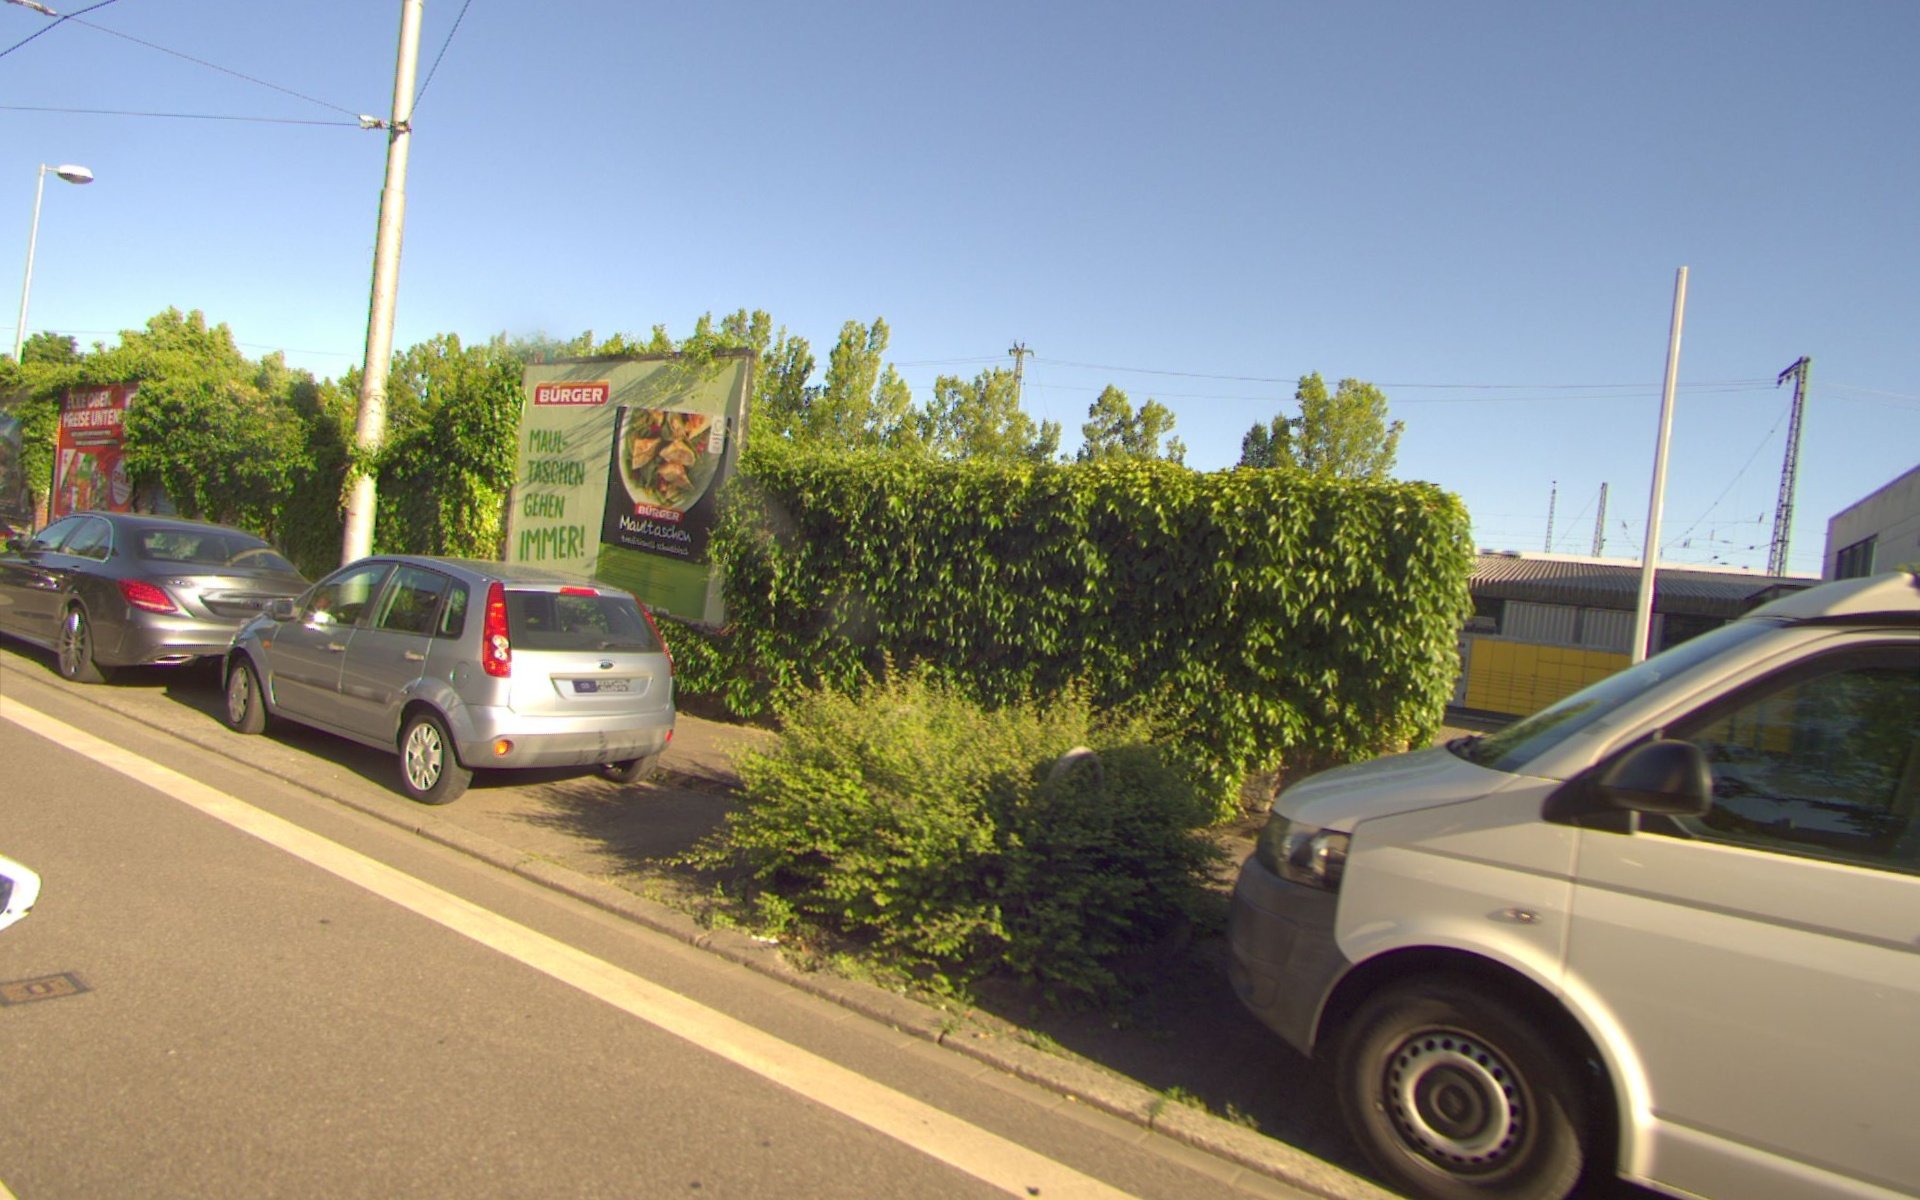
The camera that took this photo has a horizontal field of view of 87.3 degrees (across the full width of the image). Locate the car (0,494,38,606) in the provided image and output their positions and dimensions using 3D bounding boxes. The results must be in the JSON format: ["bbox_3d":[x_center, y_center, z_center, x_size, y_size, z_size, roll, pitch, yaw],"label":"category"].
[{"bbox_3d":[-15.030,-0.927,14.147,4.565,1.470,1.826,6,0,32],"label":"car"}]

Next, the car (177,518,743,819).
[{"bbox_3d":[-3.781,0.373,7.432,4.009,1.490,1.875,6,-1,33],"label":"car"}]

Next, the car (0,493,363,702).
[{"bbox_3d":[-7.952,-0.102,9.682,4.526,1.502,1.827,6,-1,32],"label":"car"}]

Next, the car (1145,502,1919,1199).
[{"bbox_3d":[3.360,0.976,2.708,5.157,2.016,1.855,6,0,33],"label":"car"}]
